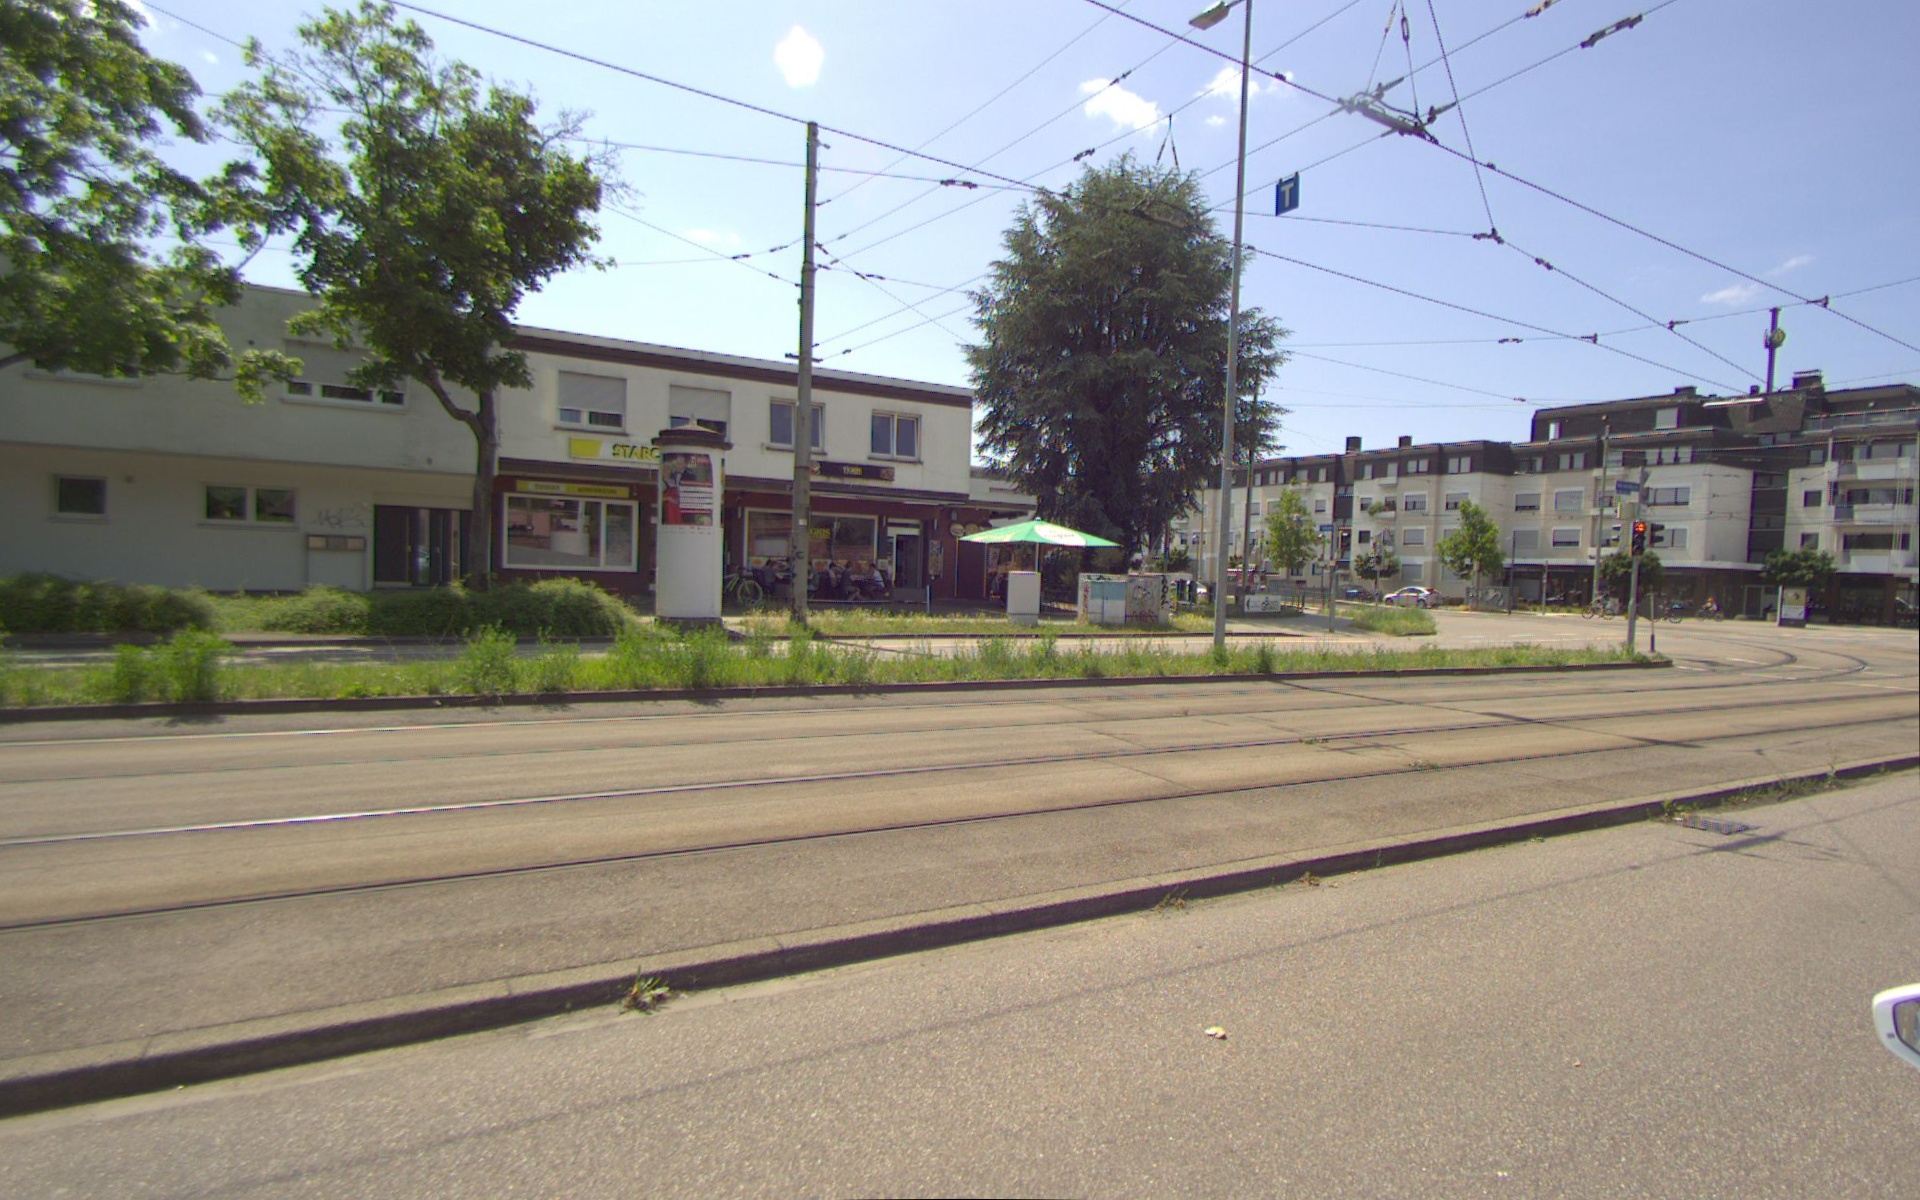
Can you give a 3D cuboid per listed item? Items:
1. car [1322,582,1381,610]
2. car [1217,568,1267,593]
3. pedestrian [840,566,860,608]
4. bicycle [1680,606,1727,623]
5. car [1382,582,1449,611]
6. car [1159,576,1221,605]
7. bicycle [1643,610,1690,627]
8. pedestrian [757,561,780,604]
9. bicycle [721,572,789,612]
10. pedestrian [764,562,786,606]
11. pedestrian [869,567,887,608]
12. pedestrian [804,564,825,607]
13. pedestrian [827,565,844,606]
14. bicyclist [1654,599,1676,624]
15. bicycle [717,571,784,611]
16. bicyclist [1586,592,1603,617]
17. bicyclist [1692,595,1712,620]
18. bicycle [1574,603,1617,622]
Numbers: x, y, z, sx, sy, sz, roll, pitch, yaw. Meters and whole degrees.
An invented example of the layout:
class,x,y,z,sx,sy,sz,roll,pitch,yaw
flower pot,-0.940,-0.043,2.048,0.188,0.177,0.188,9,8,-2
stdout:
class,x,y,z,sx,sy,sz,roll,pitch,yaw
car,30.699,-0.334,78.836,1.978,2.040,3.966,2,0,-31
car,24.600,-1.681,87.704,1.975,2.041,3.970,1,2,-28
pedestrian,-3.387,-0.406,30.961,0.495,1.285,0.317,1,2,-30
bicycle,46.319,0.913,62.613,2.214,0.947,0.671,2,0,23
car,33.011,-0.297,72.834,1.977,1.938,3.966,1,2,-31
car,15.014,-0.628,65.774,1.876,1.747,3.825,2,0,-28
bicycle,42.105,1.094,59.870,2.214,0.893,0.418,2,0,24
pedestrian,-5.791,-0.539,30.435,0.573,1.285,0.350,1,2,-30
bicycle,-5.665,-0.224,27.787,1.779,1.055,0.396,1,2,-29
pedestrian,-5.477,-0.483,29.791,0.526,1.285,0.351,1,2,-30
pedestrian,-2.640,-0.407,32.226,0.447,1.285,0.339,1,2,-28
pedestrian,-4.414,-0.436,30.411,0.521,1.285,0.343,1,2,-28
pedestrian,-3.915,-0.466,31.588,0.396,1.263,0.384,1,2,-29
bicyclist,42.032,0.694,59.908,0.946,1.441,0.631,2,0,24
bicycle,-5.877,-0.243,28.203,1.779,1.055,0.396,1,2,-29
bicyclist,39.373,0.304,62.309,0.839,1.507,0.734,2,0,35
bicyclist,46.274,0.472,62.616,0.832,1.487,0.656,2,0,24
bicycle,39.395,0.764,62.302,2.220,1.115,0.515,2,0,35
